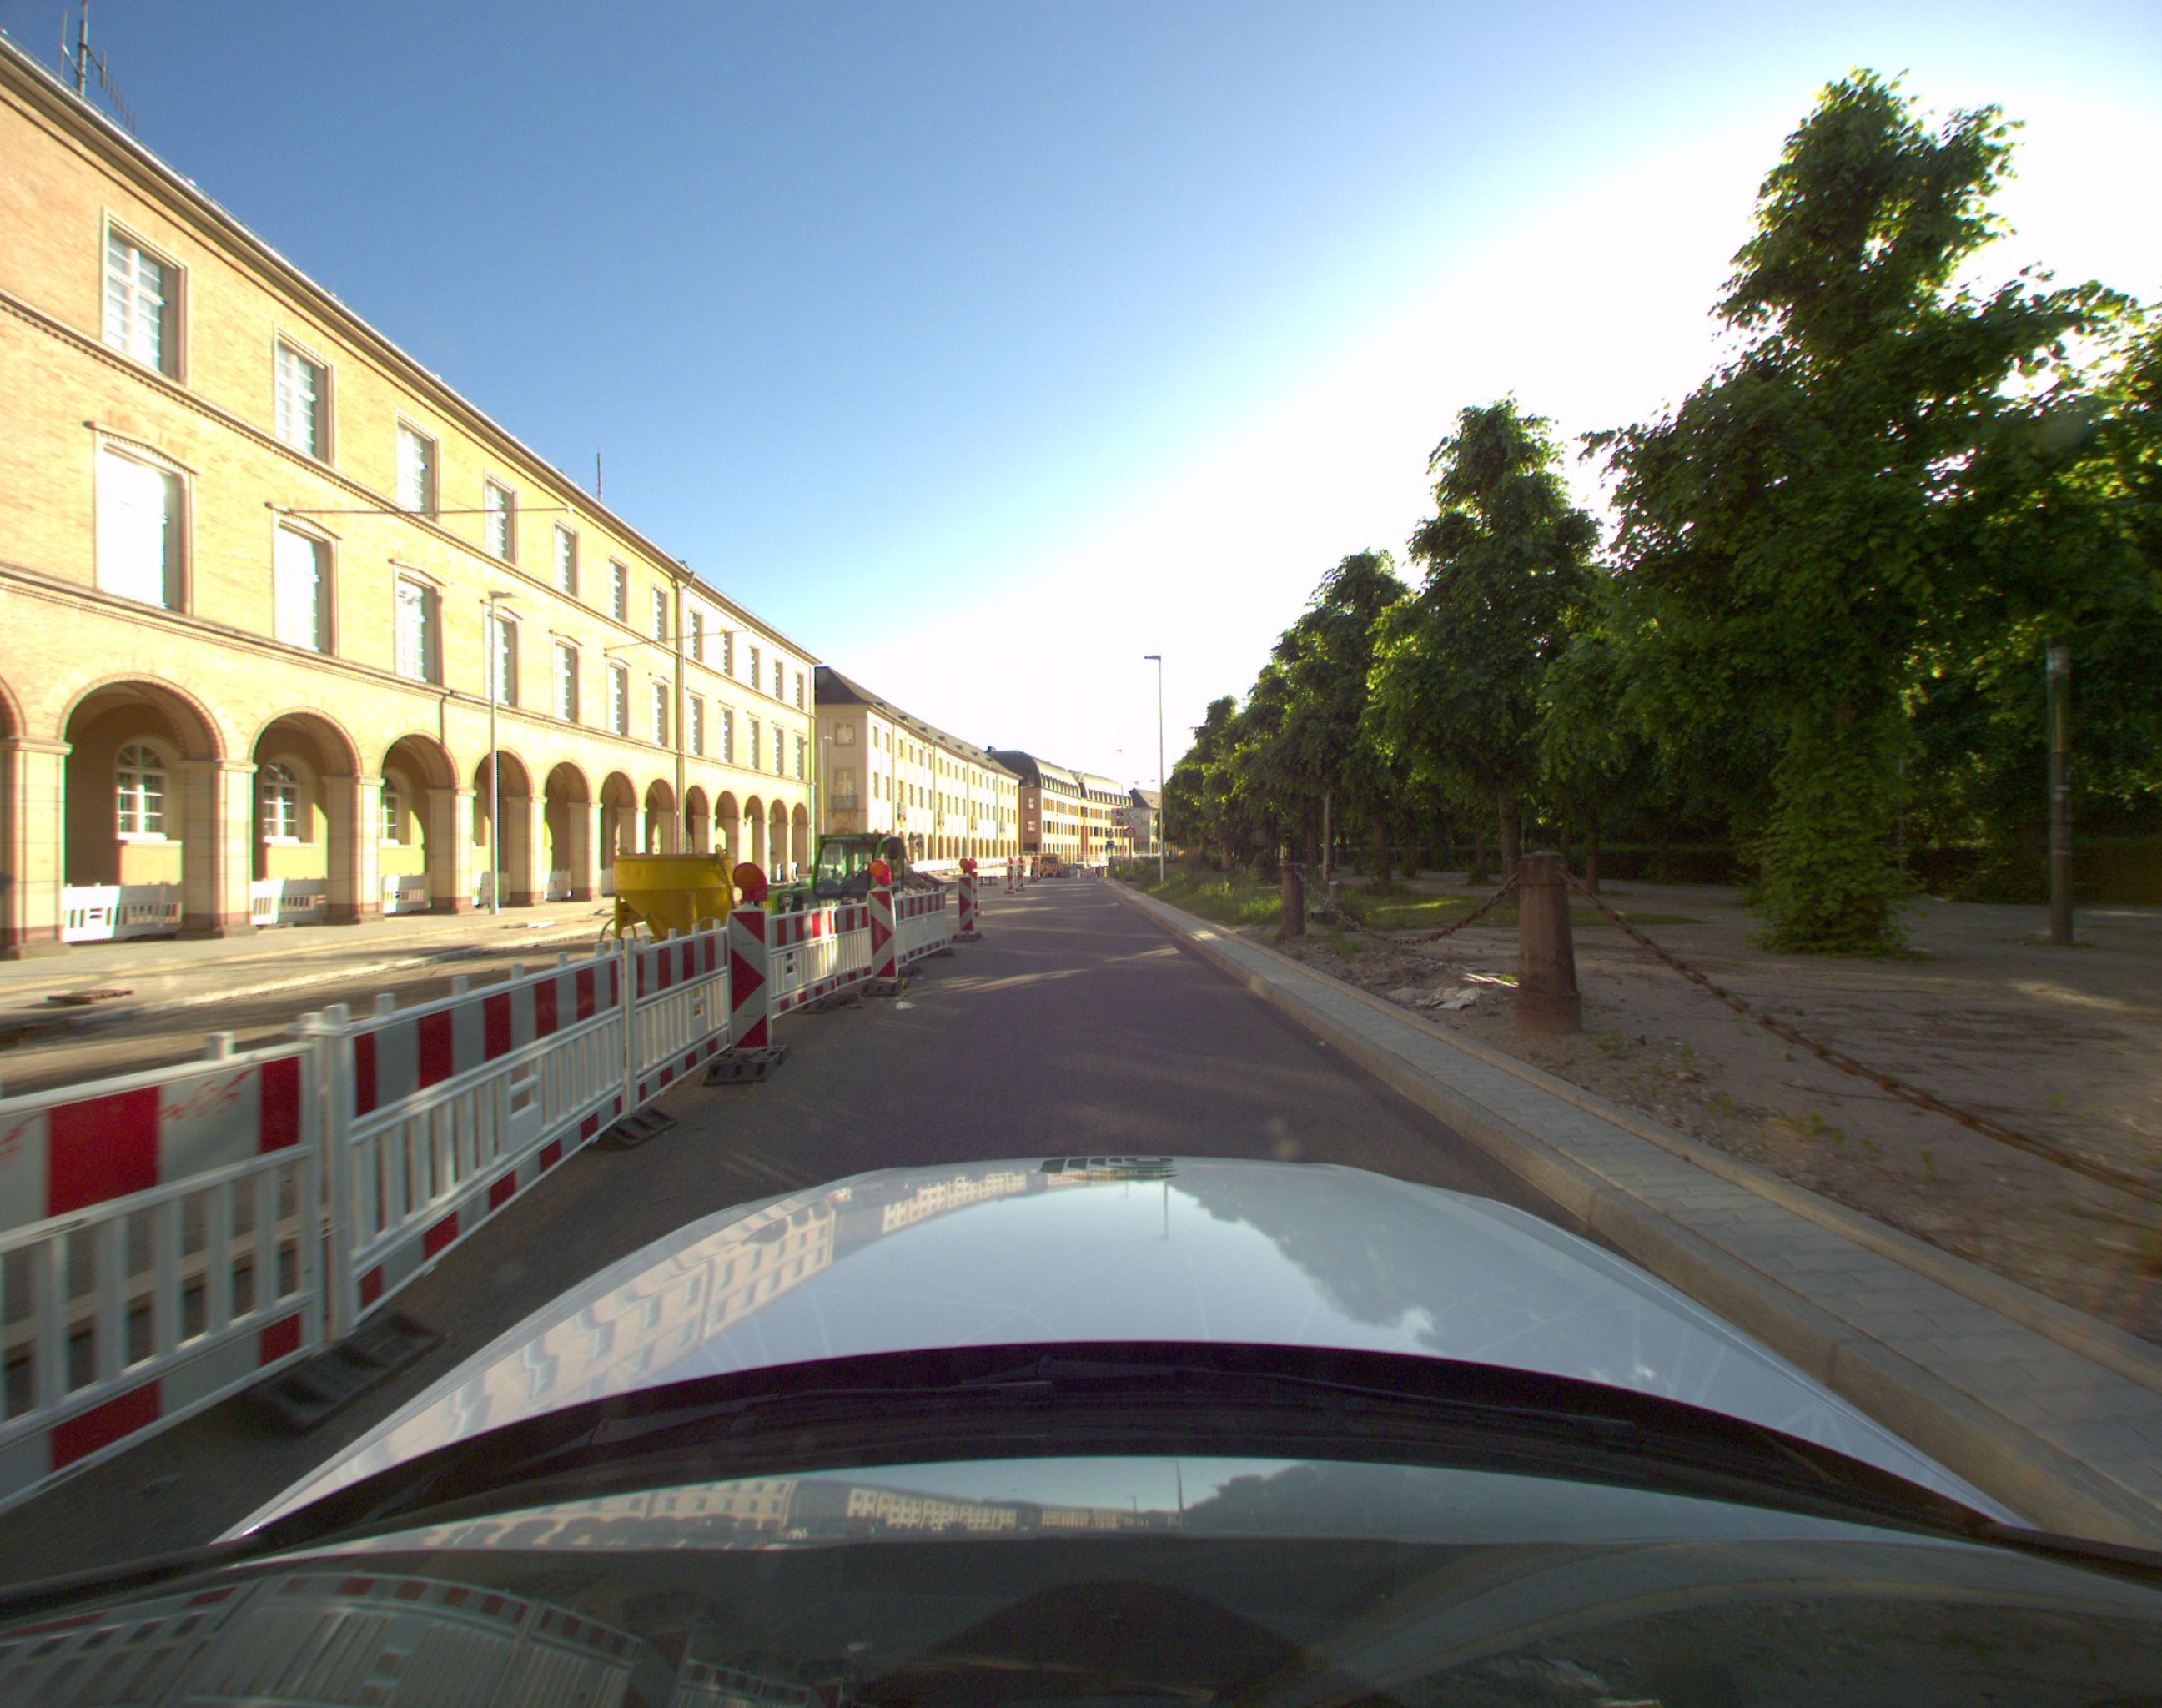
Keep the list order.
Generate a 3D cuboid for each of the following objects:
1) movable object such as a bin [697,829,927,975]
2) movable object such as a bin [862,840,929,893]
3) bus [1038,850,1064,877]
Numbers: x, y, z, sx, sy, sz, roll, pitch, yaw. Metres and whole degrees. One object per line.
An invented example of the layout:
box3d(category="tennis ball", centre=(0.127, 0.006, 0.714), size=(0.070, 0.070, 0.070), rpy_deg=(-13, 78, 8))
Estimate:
box3d(category="movable object such as a bin", centre=(-4.030, 0.606, 13.113), size=(2.041, 1.949, 4.338), rpy_deg=(0, 1, 3))
box3d(category="movable object such as a bin", centre=(-9.135, 0.563, 40.498), size=(2.067, 2.475, 4.619), rpy_deg=(-1, 1, 2))
box3d(category="bus", centre=(-3.072, 1.017, 83.562), size=(2.062, 2.687, 4.690), rpy_deg=(0, -2, 5))
